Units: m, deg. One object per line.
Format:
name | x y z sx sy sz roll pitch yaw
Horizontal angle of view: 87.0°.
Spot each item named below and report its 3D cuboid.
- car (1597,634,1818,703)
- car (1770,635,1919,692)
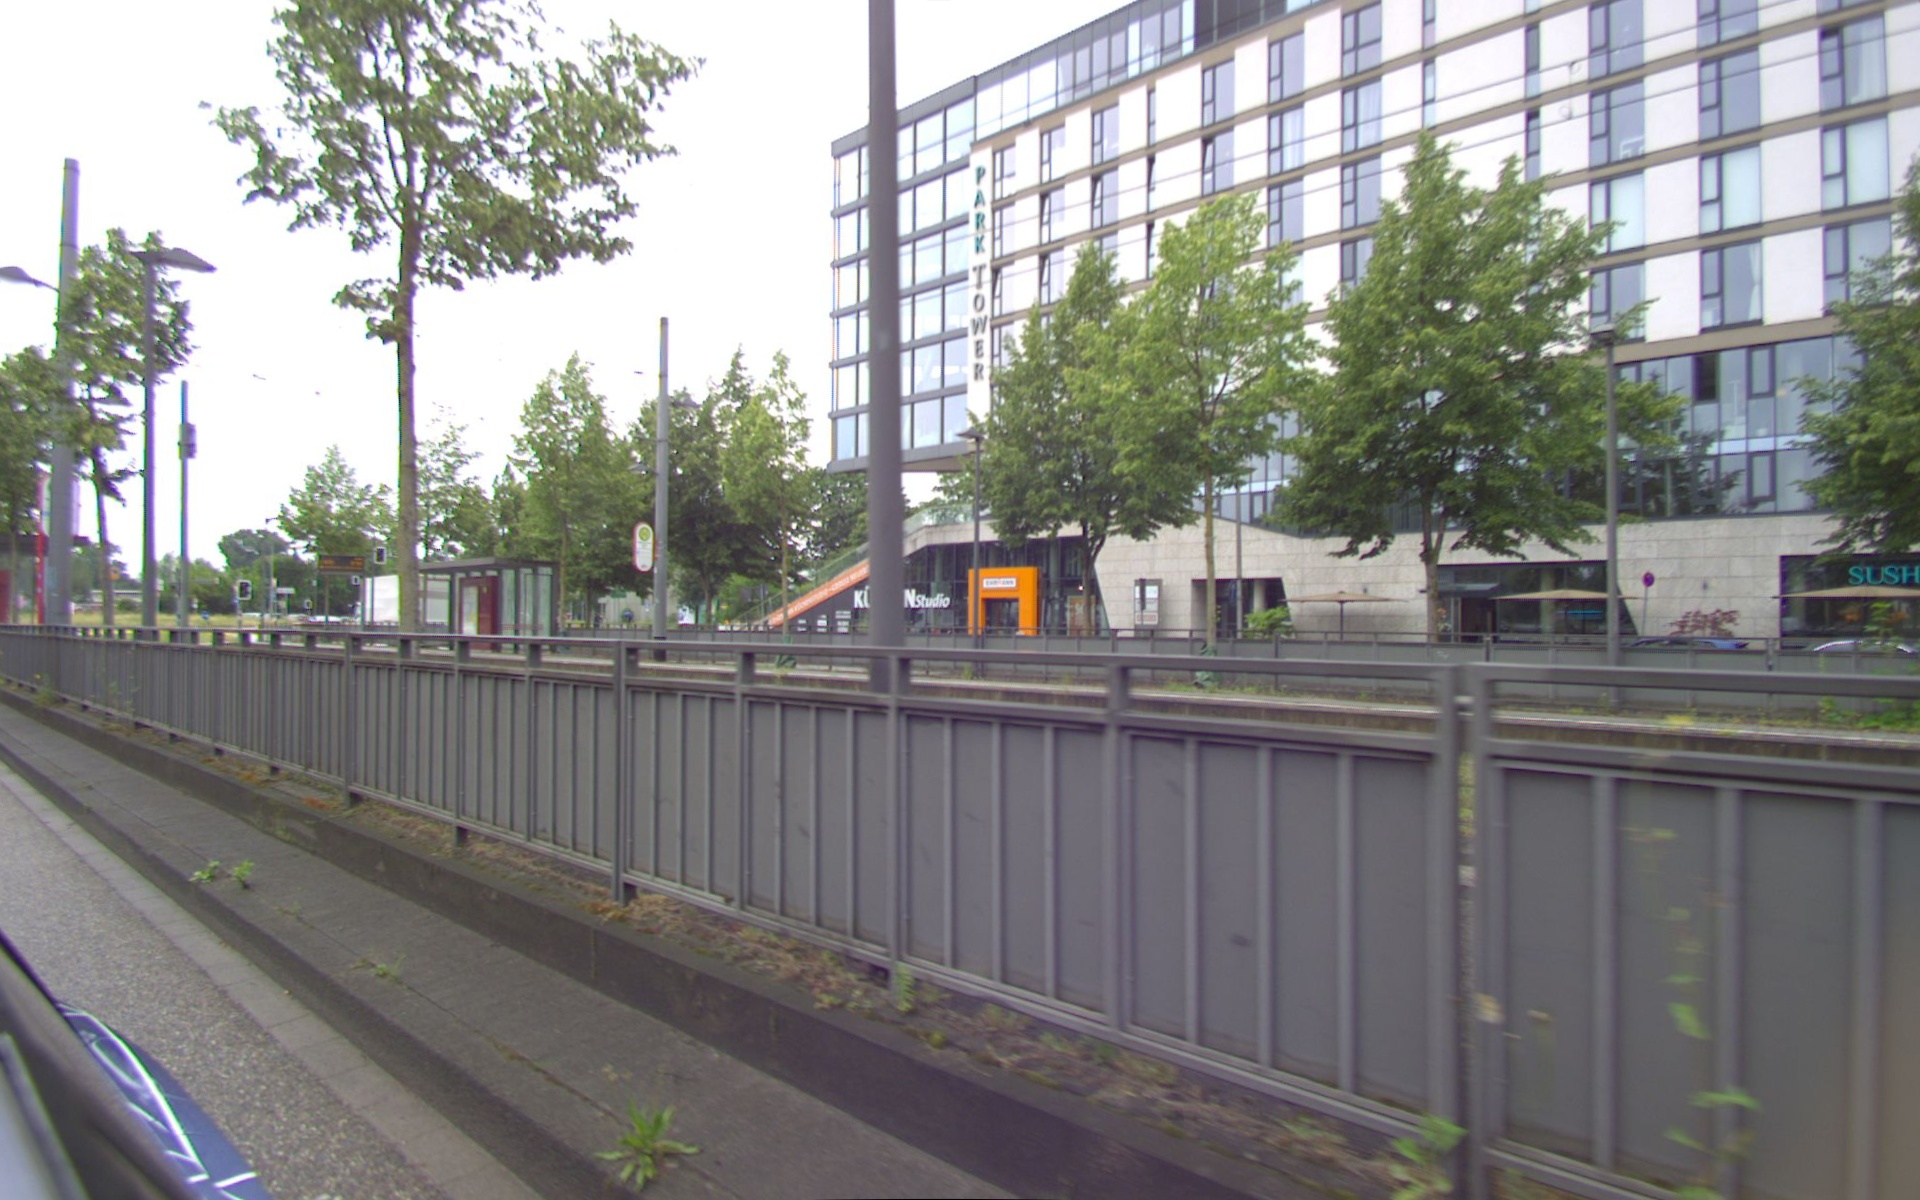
car | 16.734 1.470 22.728 3.858 1.298 1.973 0 -1 41
car | 22.880 1.559 25.398 3.860 1.298 1.972 -1 -2 43
